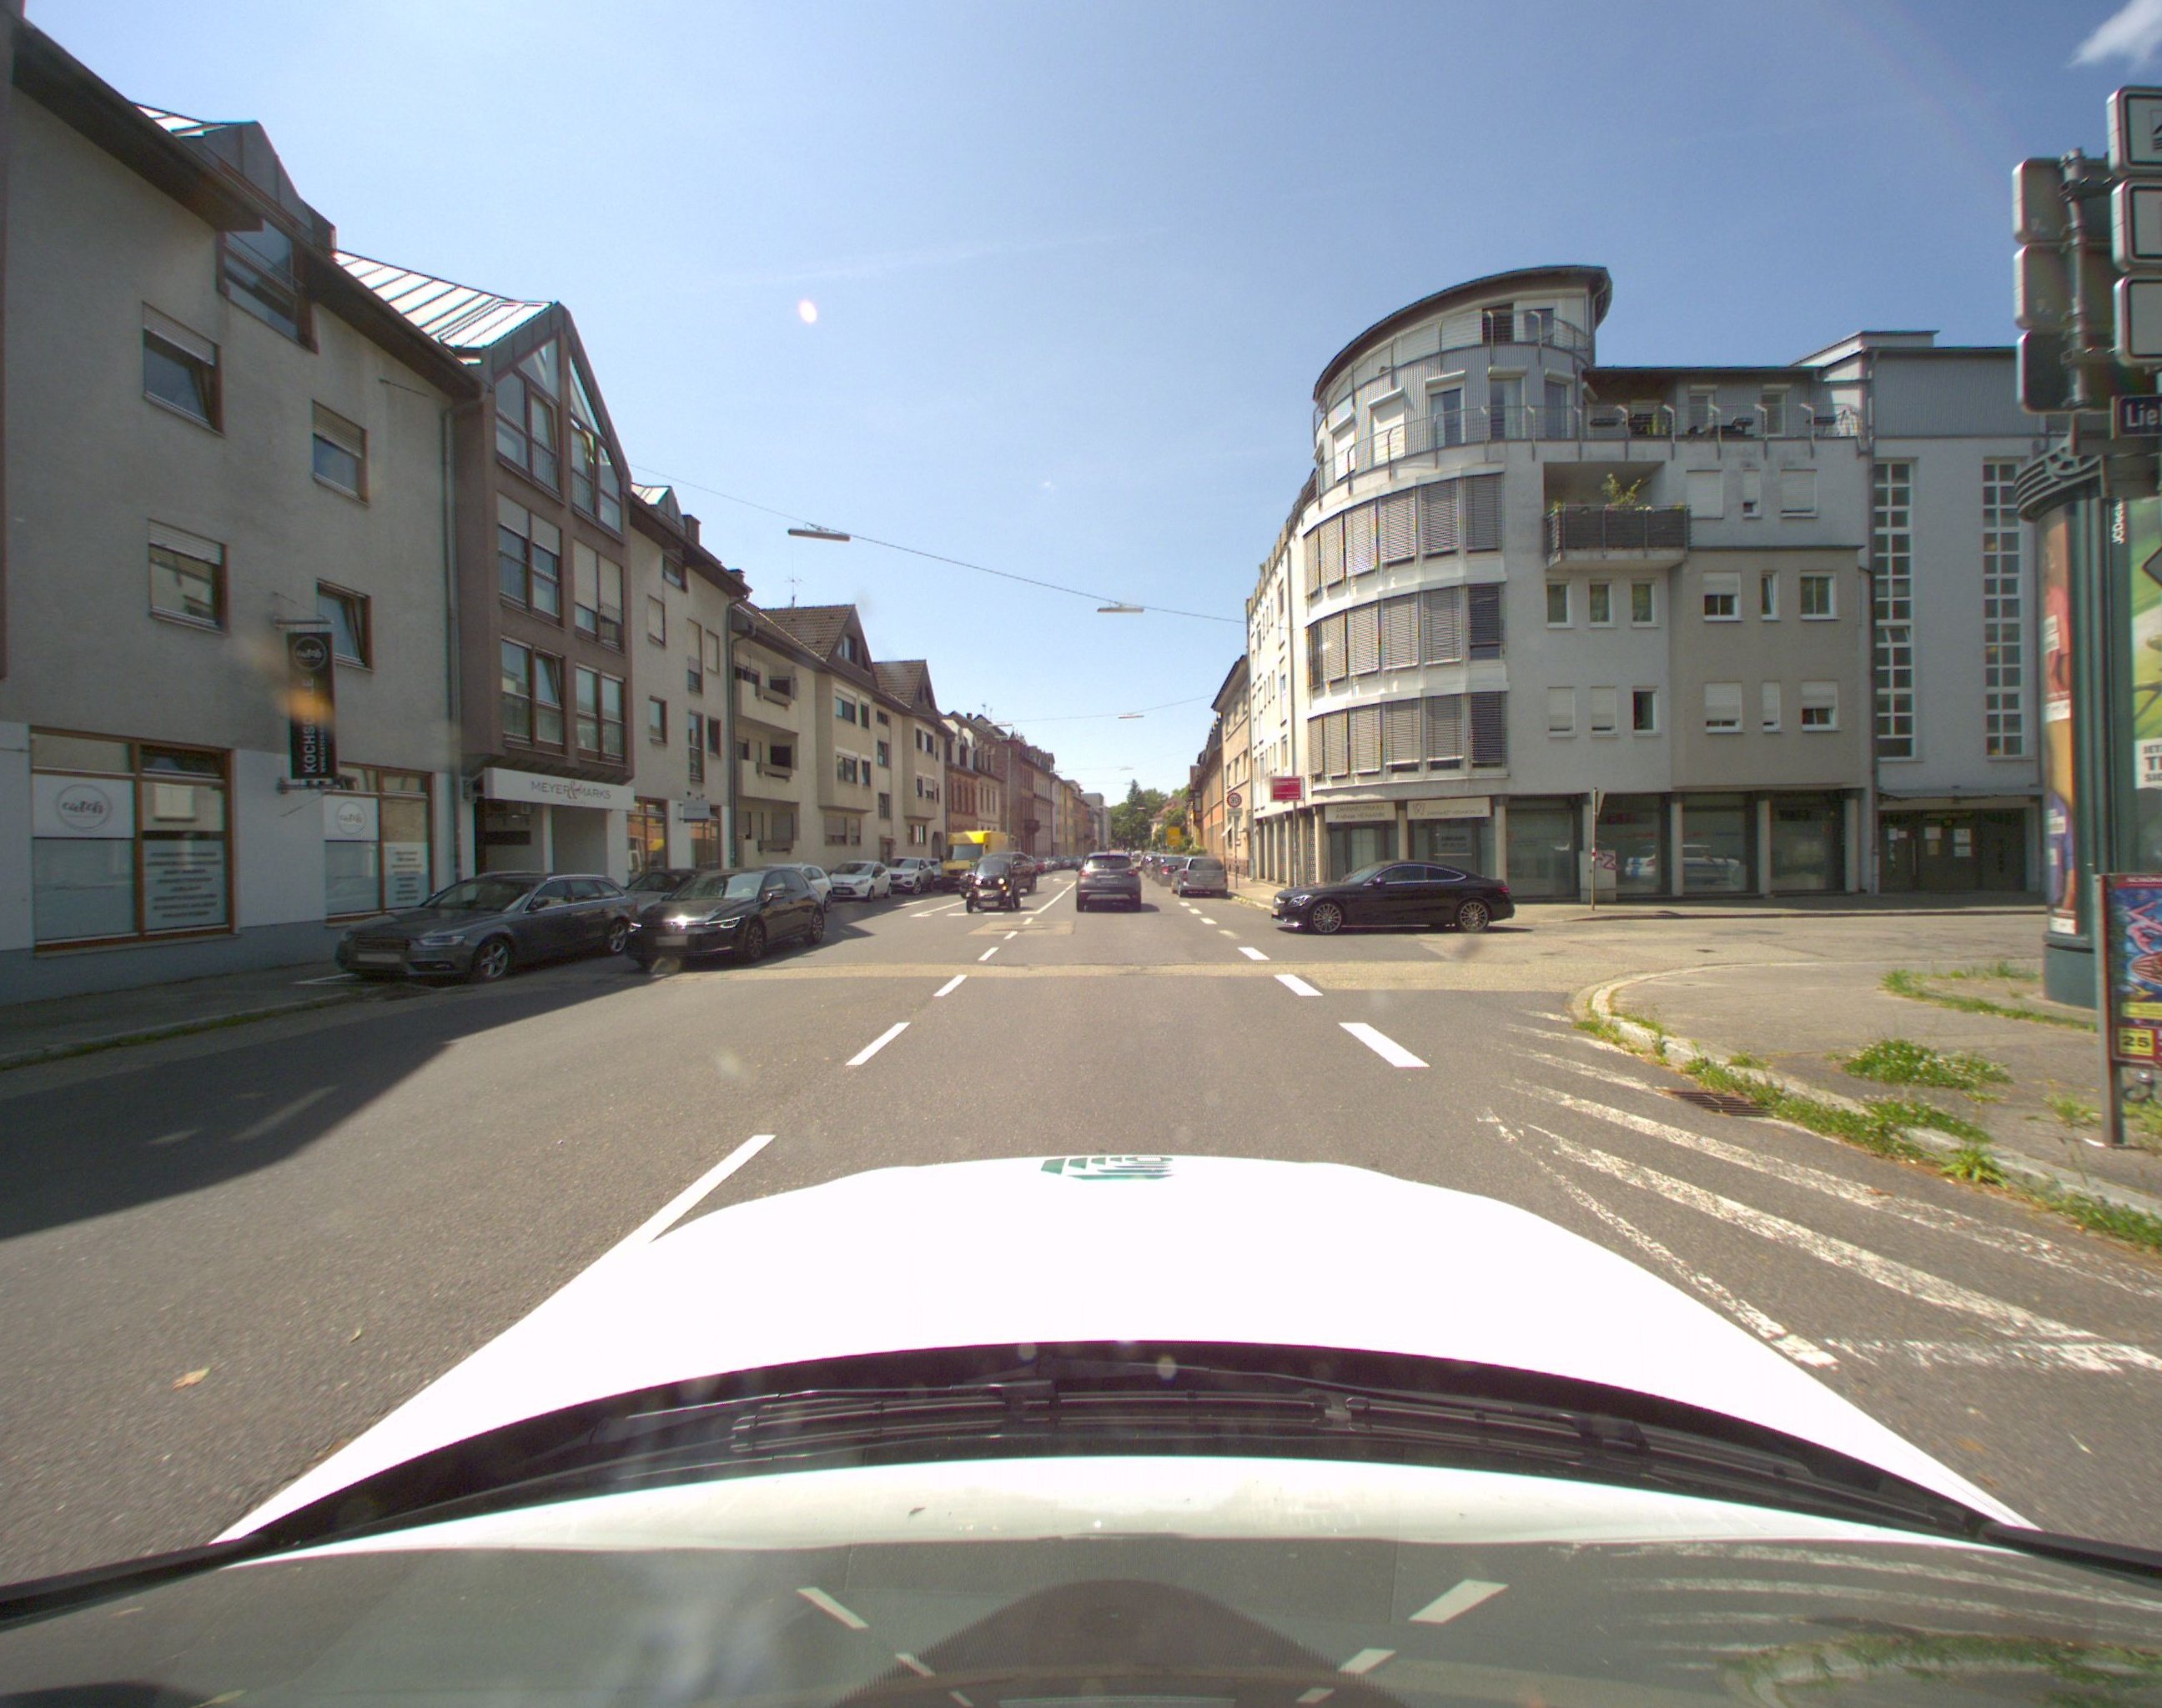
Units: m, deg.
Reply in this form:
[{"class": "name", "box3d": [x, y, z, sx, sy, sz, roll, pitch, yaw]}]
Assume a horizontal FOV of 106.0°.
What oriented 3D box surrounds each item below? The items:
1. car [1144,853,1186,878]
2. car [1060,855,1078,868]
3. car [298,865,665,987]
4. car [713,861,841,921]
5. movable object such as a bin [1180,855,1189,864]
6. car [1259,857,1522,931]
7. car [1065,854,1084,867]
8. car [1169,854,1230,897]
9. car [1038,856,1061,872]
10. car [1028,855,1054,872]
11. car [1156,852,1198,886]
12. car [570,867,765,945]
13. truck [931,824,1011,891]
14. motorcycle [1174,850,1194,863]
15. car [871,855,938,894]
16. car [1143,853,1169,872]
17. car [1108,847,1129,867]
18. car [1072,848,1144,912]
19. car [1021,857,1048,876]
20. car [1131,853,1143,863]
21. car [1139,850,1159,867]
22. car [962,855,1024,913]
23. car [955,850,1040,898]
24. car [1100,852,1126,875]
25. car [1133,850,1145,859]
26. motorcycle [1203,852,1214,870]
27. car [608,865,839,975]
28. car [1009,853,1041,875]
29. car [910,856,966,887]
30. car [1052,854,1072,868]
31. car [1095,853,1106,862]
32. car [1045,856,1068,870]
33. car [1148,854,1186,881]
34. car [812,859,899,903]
[{"class": "car", "box3d": [5.086, 0.663, 49.813, 1.849, 1.463, 4.545, 0, 0, -3]}, {"class": "car", "box3d": [-1.463, 0.899, 99.853, 1.832, 1.422, 4.649, -3, -1, 3]}, {"class": "car", "box3d": [-8.860, 0.943, 12.793, 1.832, 1.447, 4.973, 1, 0, 3]}, {"class": "car", "box3d": [-8.404, 0.961, 22.949, 1.833, 1.489, 4.387, 1, 0, 1]}, {"class": "movable object such as a bin", "box3d": [10.608, 0.582, 83.370, 0.785, 0.907, 0.539, -1, 0, 2]}, {"class": "car", "box3d": [6.065, 0.760, 16.374, 4.566, 1.365, 2.000, 0, 0, 0]}, {"class": "car", "box3d": [-0.821, 0.843, 105.612, 1.830, 1.422, 4.565, -4, -1, 6]}, {"class": "car", "box3d": [4.237, 0.732, 29.712, 1.672, 1.454, 4.143, 1, 0, 0]}, {"class": "car", "box3d": [-3.176, 1.021, 82.849, 1.832, 1.422, 4.506, -5, -1, 3]}, {"class": "car", "box3d": [-3.750, 0.902, 77.003, 1.831, 1.422, 4.507, -3, -1, 4]}, {"class": "car", "box3d": [4.519, 0.681, 38.818, 1.704, 1.473, 4.442, -1, 0, 3]}, {"class": "car", "box3d": [-8.704, 1.019, 17.659, 1.832, 1.384, 4.329, 1, 0, 2]}, {"class": "truck", "box3d": [-5.054, 0.150, 38.921, 2.216, 2.771, 7.571, -3, 0, 4]}, {"class": "motorcycle", "box3d": [11.706, 0.315, 92.590, 2.119, 1.408, 0.938, -3, -1, 4]}, {"class": "car", "box3d": [-7.749, 0.867, 36.137, 1.833, 1.596, 4.388, 1, 0, 2]}, {"class": "car", "box3d": [5.545, 0.639, 60.266, 1.694, 1.380, 4.169, 0, 0, 2]}, {"class": "car", "box3d": [4.020, 0.287, 87.118, 1.984, 2.013, 4.473, -2, 0, 5]}, {"class": "car", "box3d": [0.666, 0.670, 23.058, 1.739, 1.616, 3.996, -1, 0, -2]}, {"class": "car", "box3d": [-3.989, 1.066, 70.413, 1.833, 1.422, 4.503, -4, 0, 1]}, {"class": "car", "box3d": [9.138, 0.564, 131.990, 1.754, 1.560, 3.950, -1, 0, 6]}, {"class": "car", "box3d": [7.007, 0.438, 83.475, 1.984, 1.662, 4.631, -2, 0, 5]}, {"class": "car", "box3d": [-2.392, 0.784, 22.589, 1.493, 1.459, 2.720, -1, 0, -3]}, {"class": "car", "box3d": [-3.051, 0.718, 30.812, 1.800, 1.620, 4.456, -2, 0, 12]}, {"class": "car", "box3d": [2.506, 0.732, 62.545, 1.804, 1.620, 4.445, -2, 0, 3]}, {"class": "car", "box3d": [9.926, 0.079, 139.665, 1.754, 1.560, 3.950, -1, 0, 6]}, {"class": "motorcycle", "box3d": [8.887, 0.476, 56.743, 0.593, 1.225, 1.363, -1, -1, 4]}, {"class": "car", "box3d": [-5.589, 0.943, 13.405, 1.735, 1.419, 4.226, -2, 0, 3]}, {"class": "car", "box3d": [-4.476, 0.807, 65.703, 1.831, 1.596, 4.507, -4, -1, 4]}, {"class": "car", "box3d": [-7.299, 0.880, 42.040, 1.832, 1.488, 4.390, 1, 0, 3]}, {"class": "car", "box3d": [-2.156, 0.805, 93.946, 1.832, 1.422, 4.505, -3, -1, 3]}, {"class": "car", "box3d": [3.606, 0.595, 150.598, 1.898, 1.620, 4.304, -3, 0, 1]}, {"class": "car", "box3d": [-2.666, 0.963, 88.704, 1.830, 1.422, 4.510, -5, -1, 6]}, {"class": "car", "box3d": [4.662, 0.700, 44.805, 1.646, 1.420, 4.048, -1, 0, 0]}, {"class": "car", "box3d": [-8.328, 0.937, 30.469, 1.833, 1.489, 4.388, 1, 0, 2]}]
